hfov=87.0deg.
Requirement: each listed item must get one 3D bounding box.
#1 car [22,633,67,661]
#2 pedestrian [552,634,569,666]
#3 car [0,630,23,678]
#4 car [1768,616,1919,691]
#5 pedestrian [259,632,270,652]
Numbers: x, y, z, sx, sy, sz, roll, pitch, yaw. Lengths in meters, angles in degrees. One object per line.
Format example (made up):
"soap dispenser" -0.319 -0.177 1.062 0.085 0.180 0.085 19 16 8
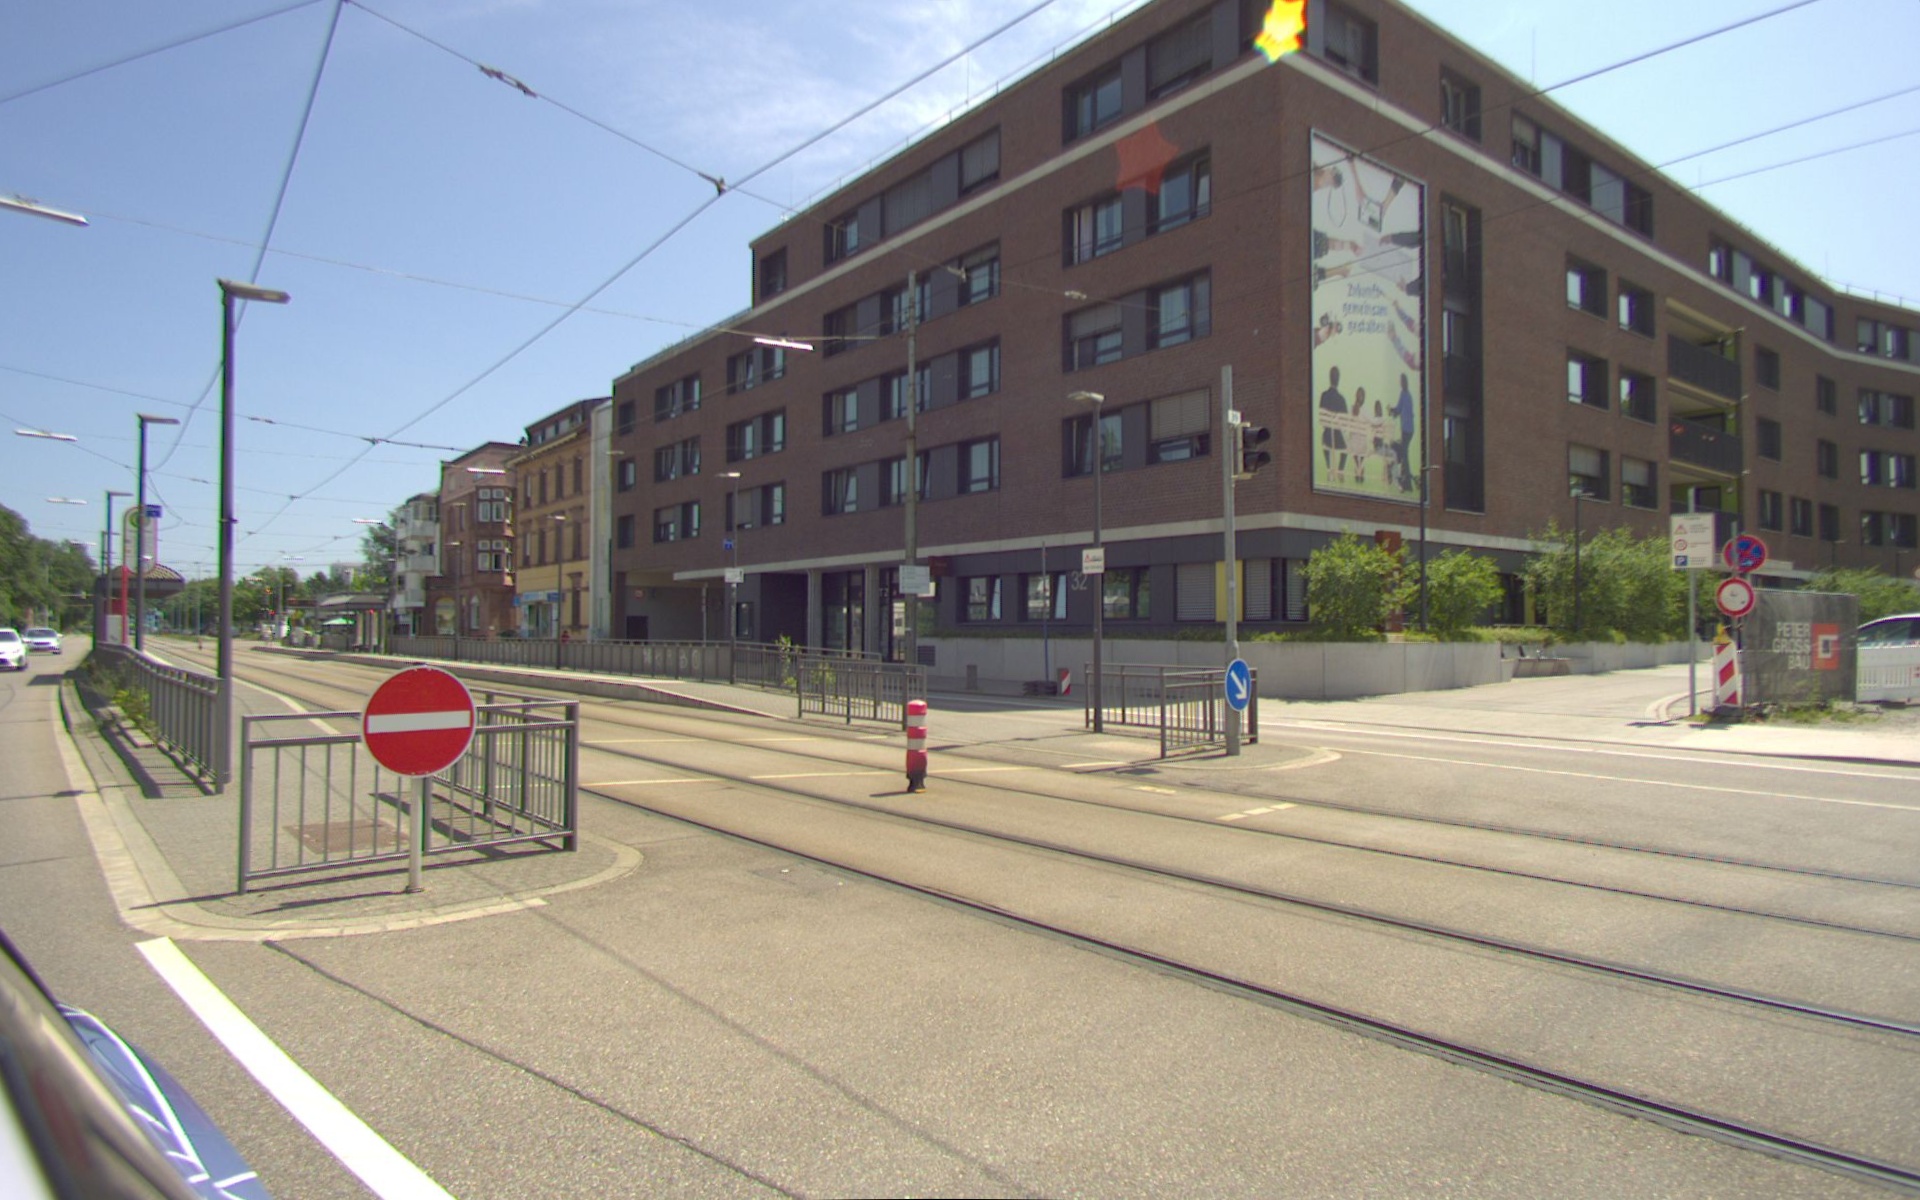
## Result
"car" -53.901 2.737 59.570 4.489 1.567 1.725 -2 -1 44
"pedestrian" -20.298 2.520 51.421 0.596 1.608 0.716 2 -3 -43
"car" -33.306 1.830 34.633 1.723 1.567 4.493 0 -1 -42
"car" 19.535 1.090 20.992 1.708 1.479 4.009 0 -2 -36
"pedestrian" -55.916 3.366 81.376 0.588 1.637 0.677 3 -4 -40
